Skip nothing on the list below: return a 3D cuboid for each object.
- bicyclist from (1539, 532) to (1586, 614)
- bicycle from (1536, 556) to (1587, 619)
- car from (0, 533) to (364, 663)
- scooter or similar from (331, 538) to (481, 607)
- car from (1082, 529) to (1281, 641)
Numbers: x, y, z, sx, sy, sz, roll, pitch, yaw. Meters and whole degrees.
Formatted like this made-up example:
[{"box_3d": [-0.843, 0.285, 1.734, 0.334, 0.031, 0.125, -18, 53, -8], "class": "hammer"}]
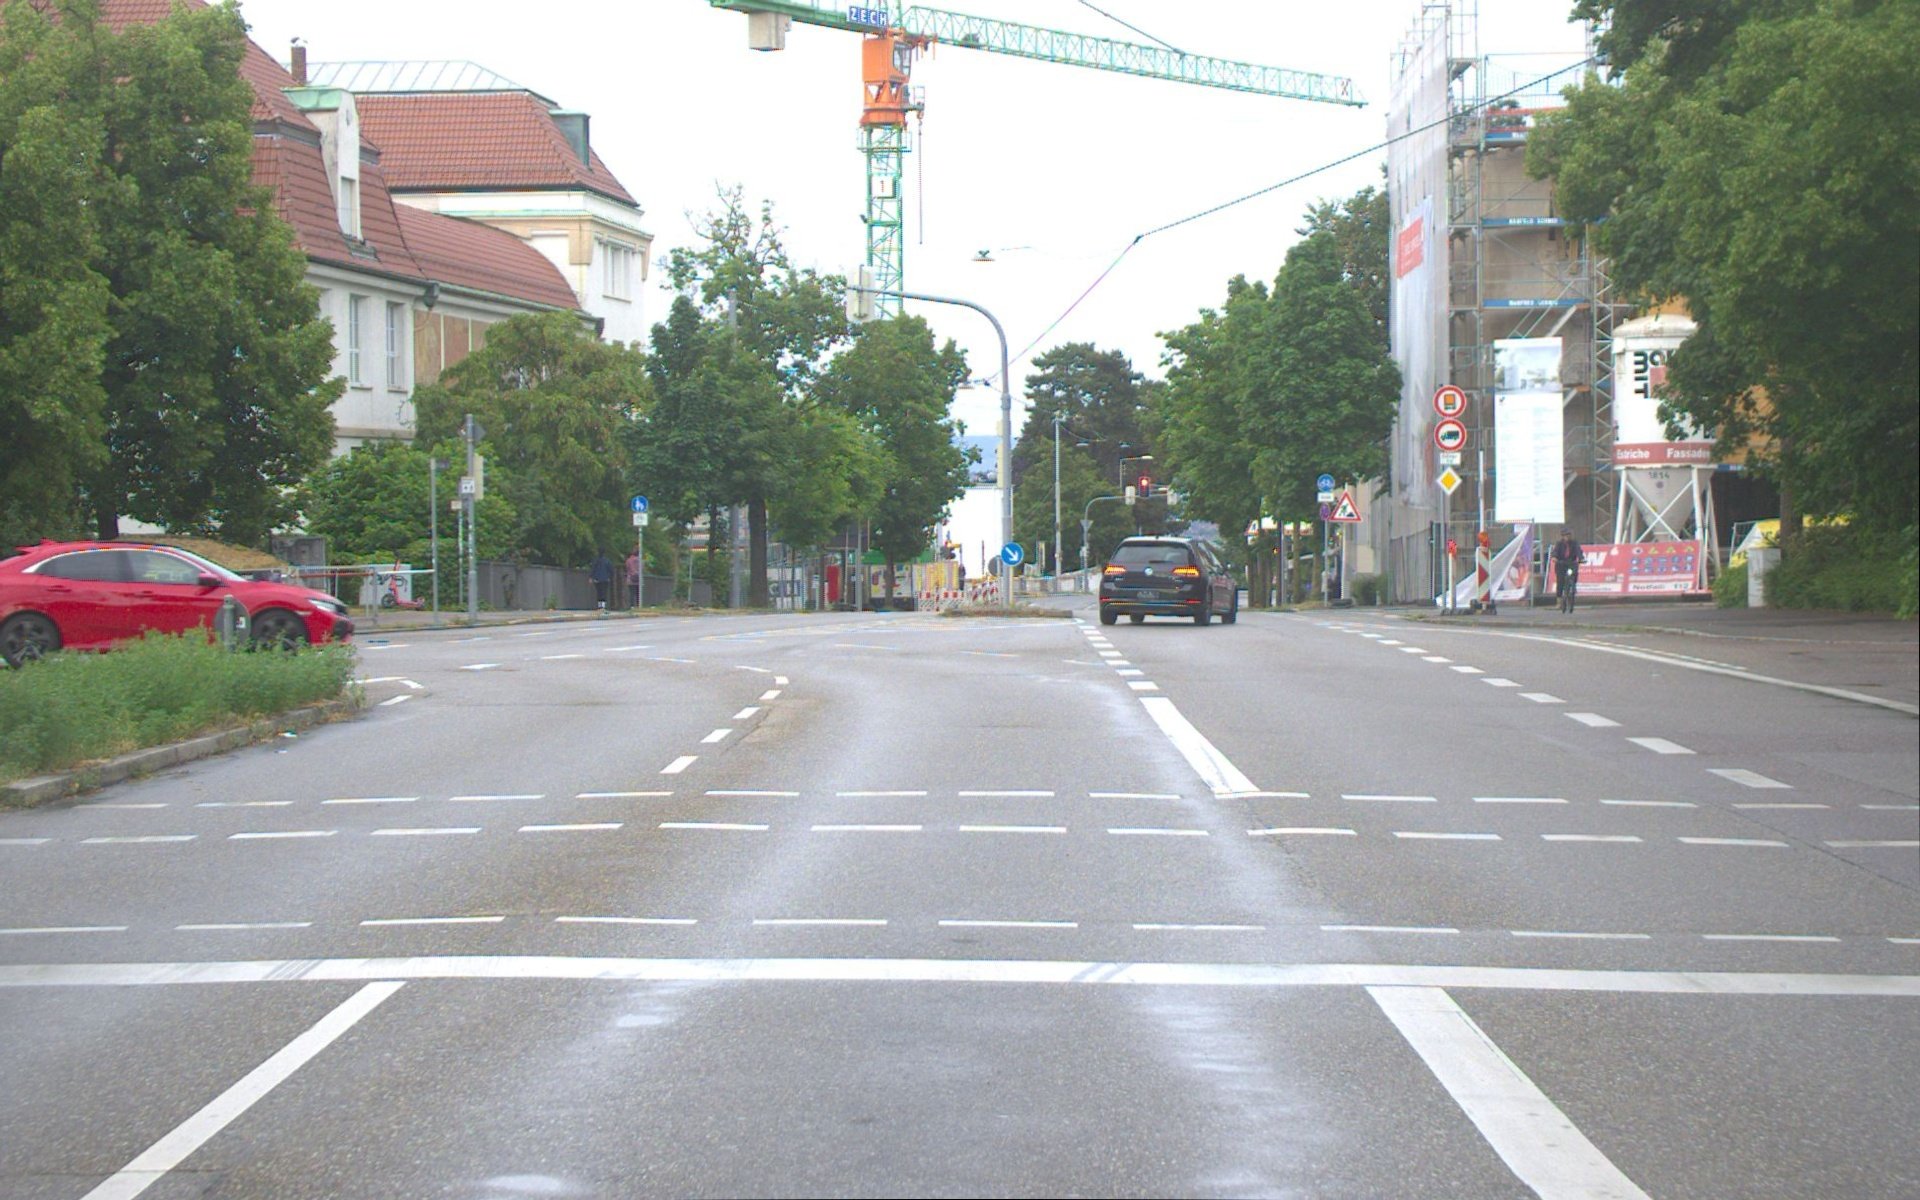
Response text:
[{"box_3d": [11.716, -0.519, 66.873, 0.720, 1.558, 1.143, 1, -1, 2], "class": "bicyclist"}, {"box_3d": [11.698, -0.232, 66.920, 0.720, 1.189, 1.756, 1, 0, 2], "class": "bicycle"}, {"box_3d": [-9.169, -0.043, 39.001, 4.503, 1.420, 2.001, 0, 1, -18], "class": "car"}, {"box_3d": [-11.964, -0.604, 74.322, 3.087, 1.435, 0.949, -1, 1, -1], "class": "scooter or similar"}, {"box_3d": [3.622, -0.219, 55.586, 1.996, 1.700, 3.995, 1, -1, 22], "class": "car"}]
